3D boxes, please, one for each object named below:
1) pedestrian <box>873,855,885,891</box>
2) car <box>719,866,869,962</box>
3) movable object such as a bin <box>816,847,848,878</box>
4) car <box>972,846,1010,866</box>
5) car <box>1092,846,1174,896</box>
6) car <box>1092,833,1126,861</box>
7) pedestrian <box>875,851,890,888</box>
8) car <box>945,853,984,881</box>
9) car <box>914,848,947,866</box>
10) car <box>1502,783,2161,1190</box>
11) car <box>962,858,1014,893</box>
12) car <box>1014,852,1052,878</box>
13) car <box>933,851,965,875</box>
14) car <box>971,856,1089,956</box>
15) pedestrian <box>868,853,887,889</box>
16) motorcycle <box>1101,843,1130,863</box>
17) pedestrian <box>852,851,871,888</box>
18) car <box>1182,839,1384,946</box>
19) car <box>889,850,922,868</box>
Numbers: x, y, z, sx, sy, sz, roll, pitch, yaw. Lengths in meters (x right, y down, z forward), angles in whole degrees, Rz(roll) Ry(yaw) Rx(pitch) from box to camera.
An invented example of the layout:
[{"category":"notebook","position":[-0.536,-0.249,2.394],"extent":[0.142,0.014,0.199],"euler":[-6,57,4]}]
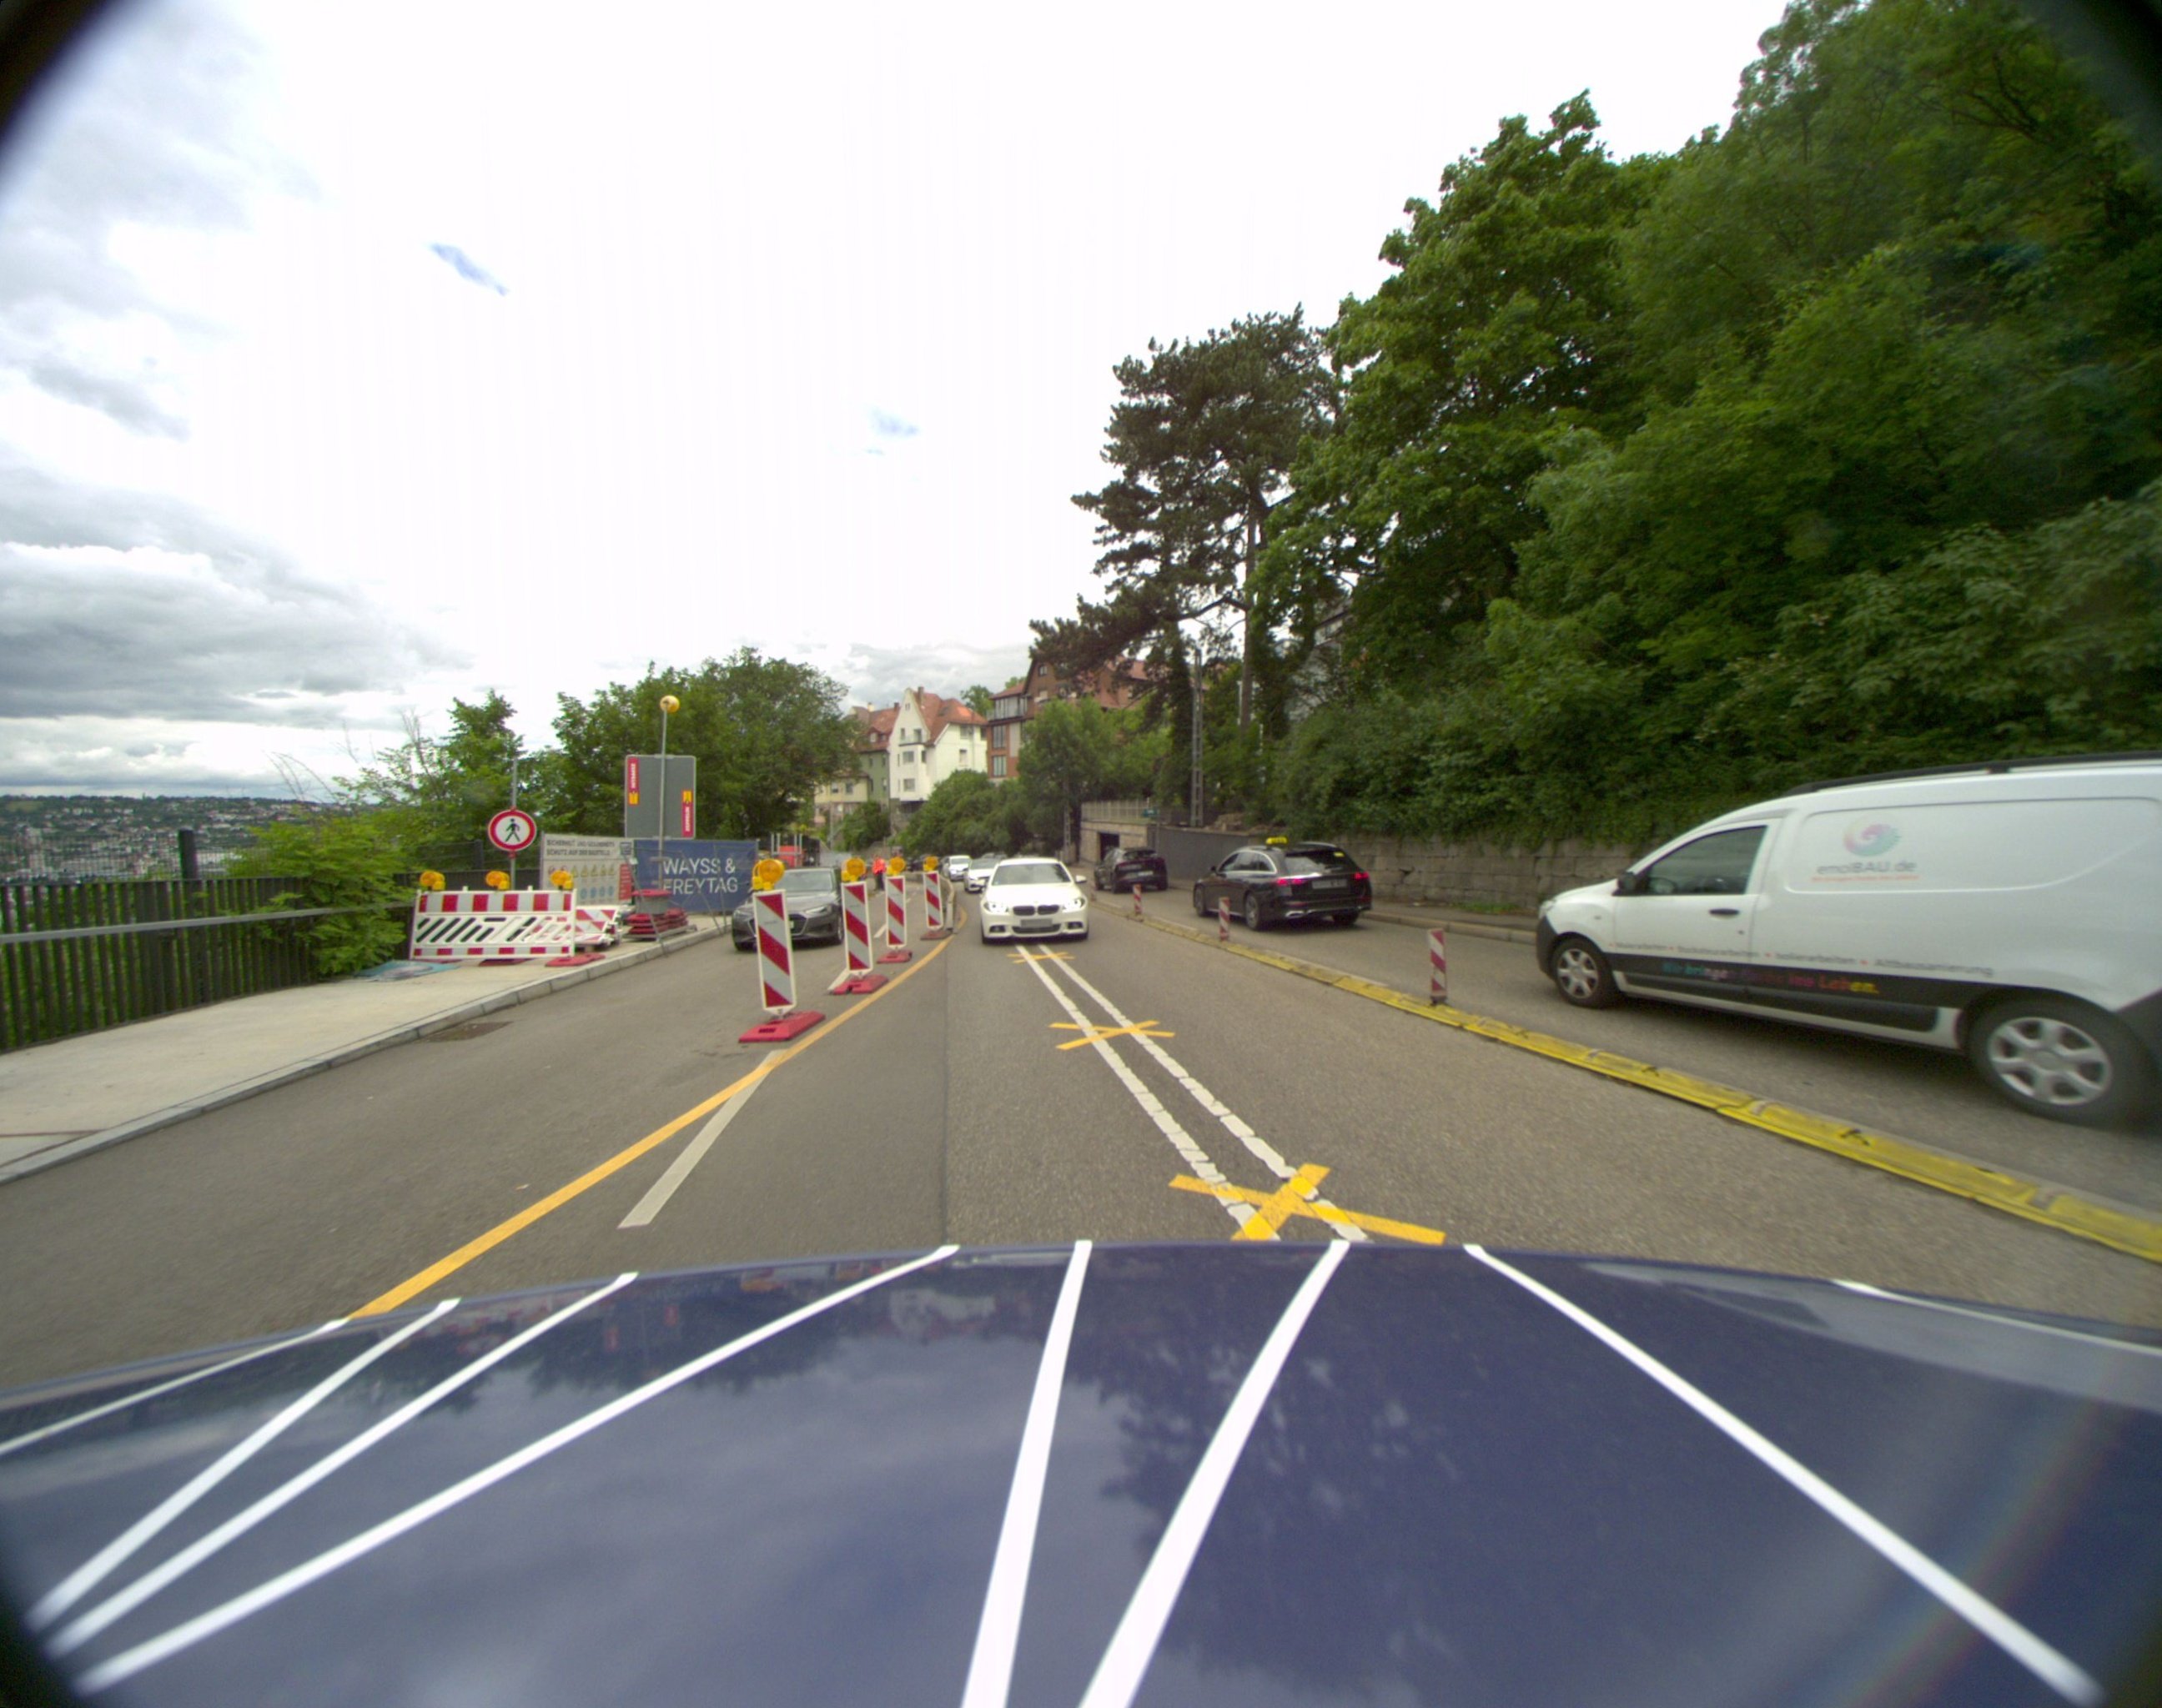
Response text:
[{"category":"pedestrian","position":[-10.438,0.996,39.299],"extent":[0.527,1.832,0.795],"euler":[0,0,-21]},{"category":"car","position":[-5.451,1.030,15.066],"extent":[1.846,1.447,4.623],"euler":[-3,0,-10]},{"category":"movable object such as a bin","position":[-22.083,0.743,67.272],"extent":[1.867,2.580,3.433],"euler":[-4,1,-29]},{"category":"car","position":[-7.475,0.214,63.066],"extent":[1.826,1.426,3.707],"euler":[-8,3,-26]},{"category":"car","position":[1.703,0.533,26.505],"extent":[1.835,1.476,4.314],"euler":[-4,1,-10]},{"category":"car","position":[1.908,-0.532,53.206],"extent":[1.573,1.596,3.581],"euler":[-4,5,-10]},{"category":"pedestrian","position":[-9.982,0.792,38.230],"extent":[0.641,1.848,0.833],"euler":[0,0,-21]},{"category":"car","position":[-7.374,0.760,47.811],"extent":[1.888,1.569,3.994],"euler":[-4,1,-15]},{"category":"car","position":[-15.194,0.330,76.406],"extent":[1.772,1.587,3.782],"euler":[-8,4,-34]},{"category":"car","position":[5.269,0.524,5.168],"extent":[1.809,1.780,4.337],"euler":[-4,1,-10]},{"category":"car","position":[-4.042,0.878,32.653],"extent":[1.799,1.299,4.096],"euler":[-3,1,-12]},{"category":"car","position":[-3.087,0.643,48.012],"extent":[1.797,1.456,4.505],"euler":[-3,1,-10]},{"category":"car","position":[-9.540,0.628,54.698],"extent":[1.888,1.569,3.994],"euler":[-4,1,-15]},{"category":"car","position":[-0.970,0.856,14.921],"extent":[1.853,1.458,4.876],"euler":[-3,1,-3]},{"category":"pedestrian","position":[-10.795,0.904,40.353],"extent":[0.717,1.873,0.620],"euler":[-3,-2,40]},{"category":"motorcycle","position":[2.311,-0.095,51.066],"extent":[1.844,1.177,0.636],"euler":[-3,6,-7]},{"category":"pedestrian","position":[-11.555,0.797,39.993],"extent":[0.732,1.881,0.618],"euler":[-5,1,-28]},{"category":"car","position":[3.526,0.583,14.340],"extent":[1.837,1.583,4.650],"euler":[-3,1,-10]},{"category":"car","position":[-17.392,0.518,75.066],"extent":[1.772,1.587,3.782],"euler":[-8,4,-34]}]
